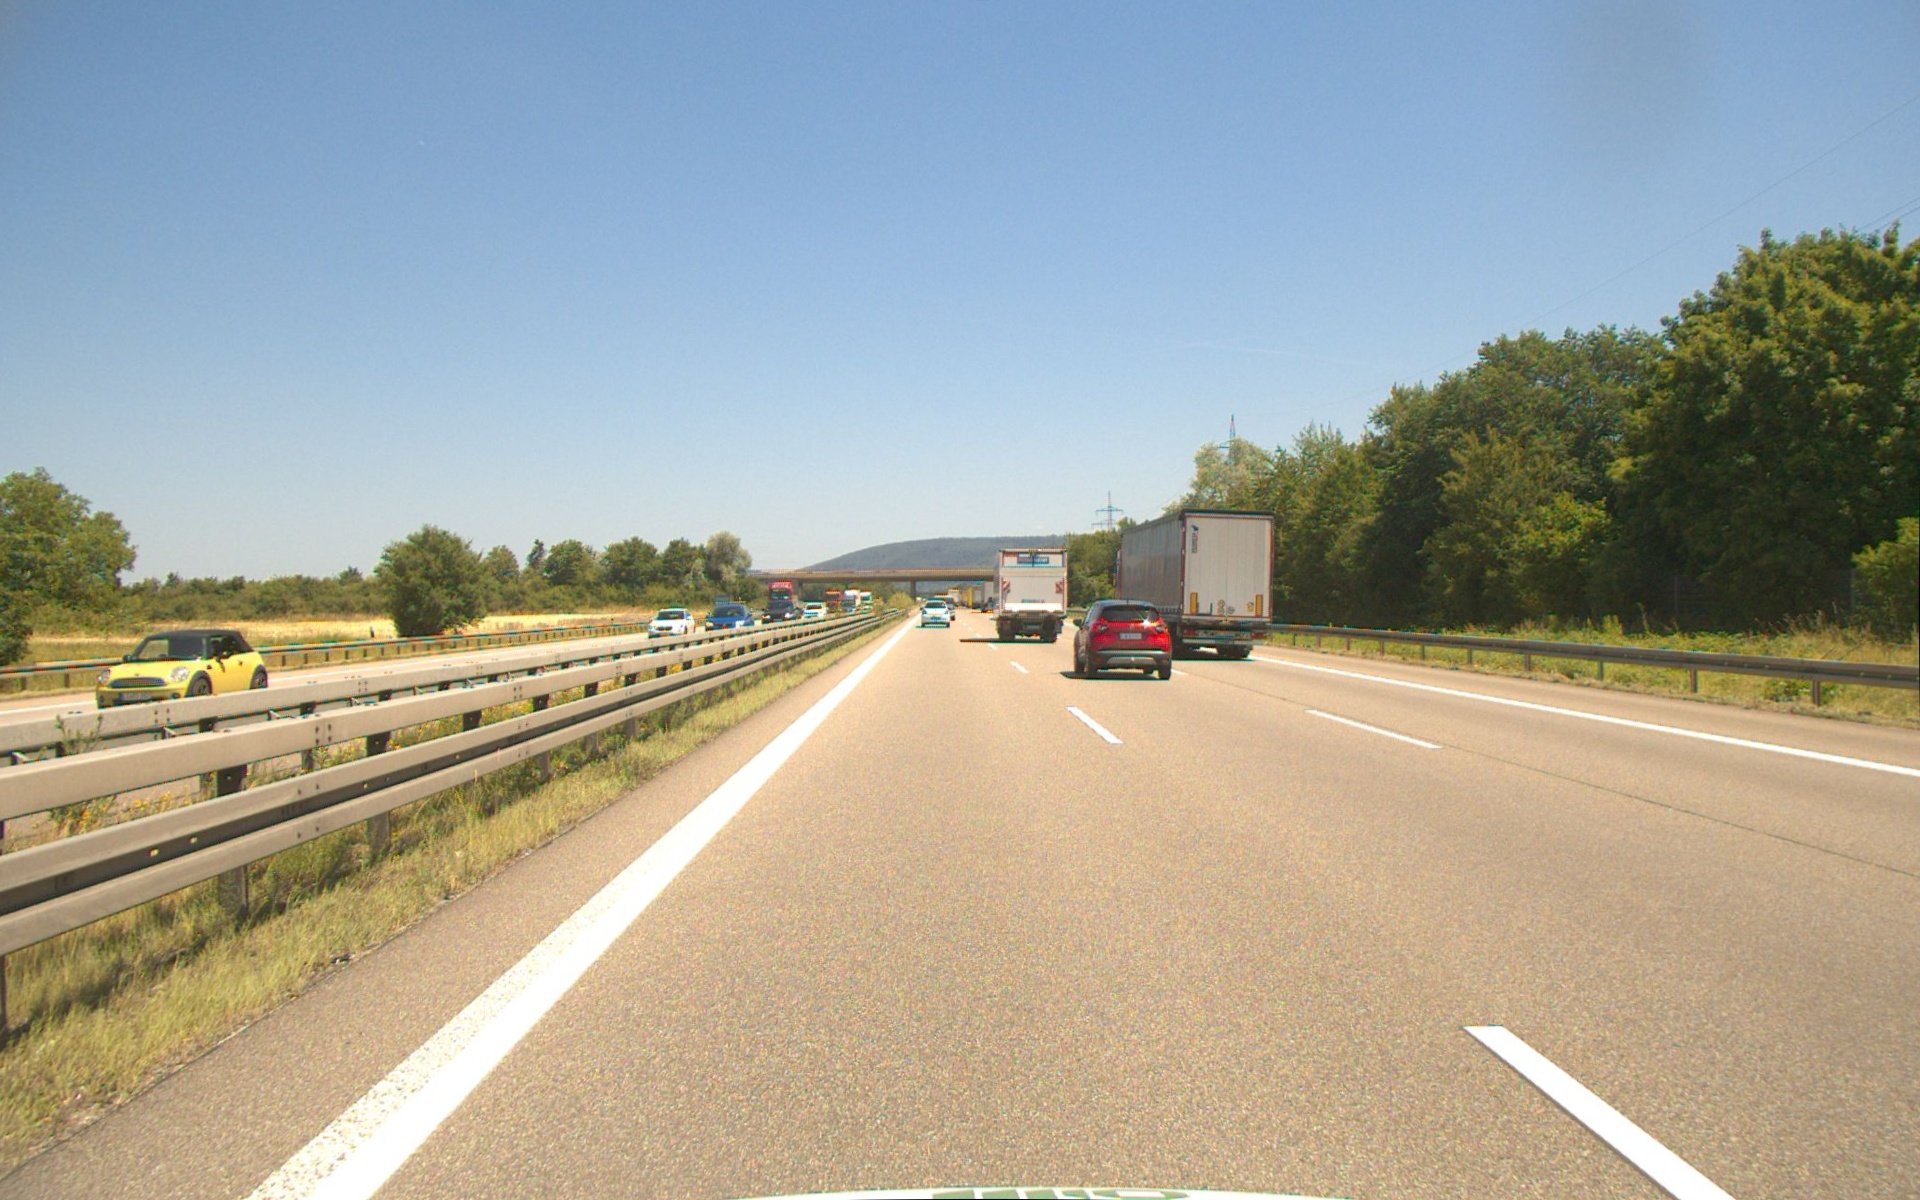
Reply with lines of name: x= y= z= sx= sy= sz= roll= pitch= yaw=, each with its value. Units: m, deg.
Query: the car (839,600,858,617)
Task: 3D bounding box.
car: x=-11.685 y=0.861 z=173.180 sx=1.772 sy=1.676 sz=3.960 roll=-2 pitch=0 yaw=-1

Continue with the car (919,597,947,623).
car: x=-1.559 y=0.567 z=96.818 sx=1.574 sy=1.493 sz=4.000 roll=-1 pitch=0 yaw=0

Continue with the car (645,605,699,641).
car: x=-13.476 y=1.056 z=77.611 sx=1.841 sy=1.593 sz=4.191 roll=-2 pitch=0 yaw=-1

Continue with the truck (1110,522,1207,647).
truck: x=6.995 y=-0.519 z=59.090 sx=2.738 sy=4.237 sz=5.722 roll=0 pitch=0 yaw=-1

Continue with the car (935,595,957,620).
car: x=-1.086 y=0.554 z=129.262 sx=1.725 sy=1.883 sz=4.000 roll=-1 pitch=0 yaw=0

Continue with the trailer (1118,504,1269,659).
trailer: x=7.049 y=-0.513 z=52.164 sx=2.732 sy=4.237 sz=13.572 roll=0 pitch=0 yaw=0

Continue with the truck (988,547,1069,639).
truck: x=2.636 y=-0.237 z=66.207 sx=2.726 sy=3.432 sz=8.125 roll=0 pitch=0 yaw=-1

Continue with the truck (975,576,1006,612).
truck: x=3.903 y=-0.781 z=215.126 sx=3.449 sy=4.493 sz=14.588 roll=-1 pitch=0 yaw=-1

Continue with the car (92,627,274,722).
car: x=-13.533 y=1.253 z=29.018 sx=1.550 sy=1.453 sz=3.476 roll=-2 pitch=0 yaw=-1

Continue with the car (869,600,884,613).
car: x=-11.028 y=0.845 z=218.227 sx=1.767 sy=1.596 sz=4.094 roll=-2 pitch=0 yaw=-1

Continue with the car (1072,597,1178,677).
car: x=3.383 y=0.733 z=34.577 sx=1.766 sy=1.572 sz=3.999 roll=0 pitch=0 yaw=-1

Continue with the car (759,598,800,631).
car: x=-10.452 y=0.815 z=96.149 sx=1.919 sy=1.803 sz=4.442 roll=-1 pitch=0 yaw=-1

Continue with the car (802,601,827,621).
car: x=-11.934 y=0.900 z=136.052 sx=1.772 sy=1.563 sz=3.960 roll=-2 pitch=0 yaw=-1

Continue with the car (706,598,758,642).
car: x=-9.861 y=0.846 z=71.724 sx=1.731 sy=1.781 sz=3.985 roll=-2 pitch=0 yaw=-1

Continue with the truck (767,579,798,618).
truck: x=-19.425 y=-0.128 z=180.964 sx=2.705 sy=4.084 sz=5.749 roll=-2 pitch=0 yaw=-1
